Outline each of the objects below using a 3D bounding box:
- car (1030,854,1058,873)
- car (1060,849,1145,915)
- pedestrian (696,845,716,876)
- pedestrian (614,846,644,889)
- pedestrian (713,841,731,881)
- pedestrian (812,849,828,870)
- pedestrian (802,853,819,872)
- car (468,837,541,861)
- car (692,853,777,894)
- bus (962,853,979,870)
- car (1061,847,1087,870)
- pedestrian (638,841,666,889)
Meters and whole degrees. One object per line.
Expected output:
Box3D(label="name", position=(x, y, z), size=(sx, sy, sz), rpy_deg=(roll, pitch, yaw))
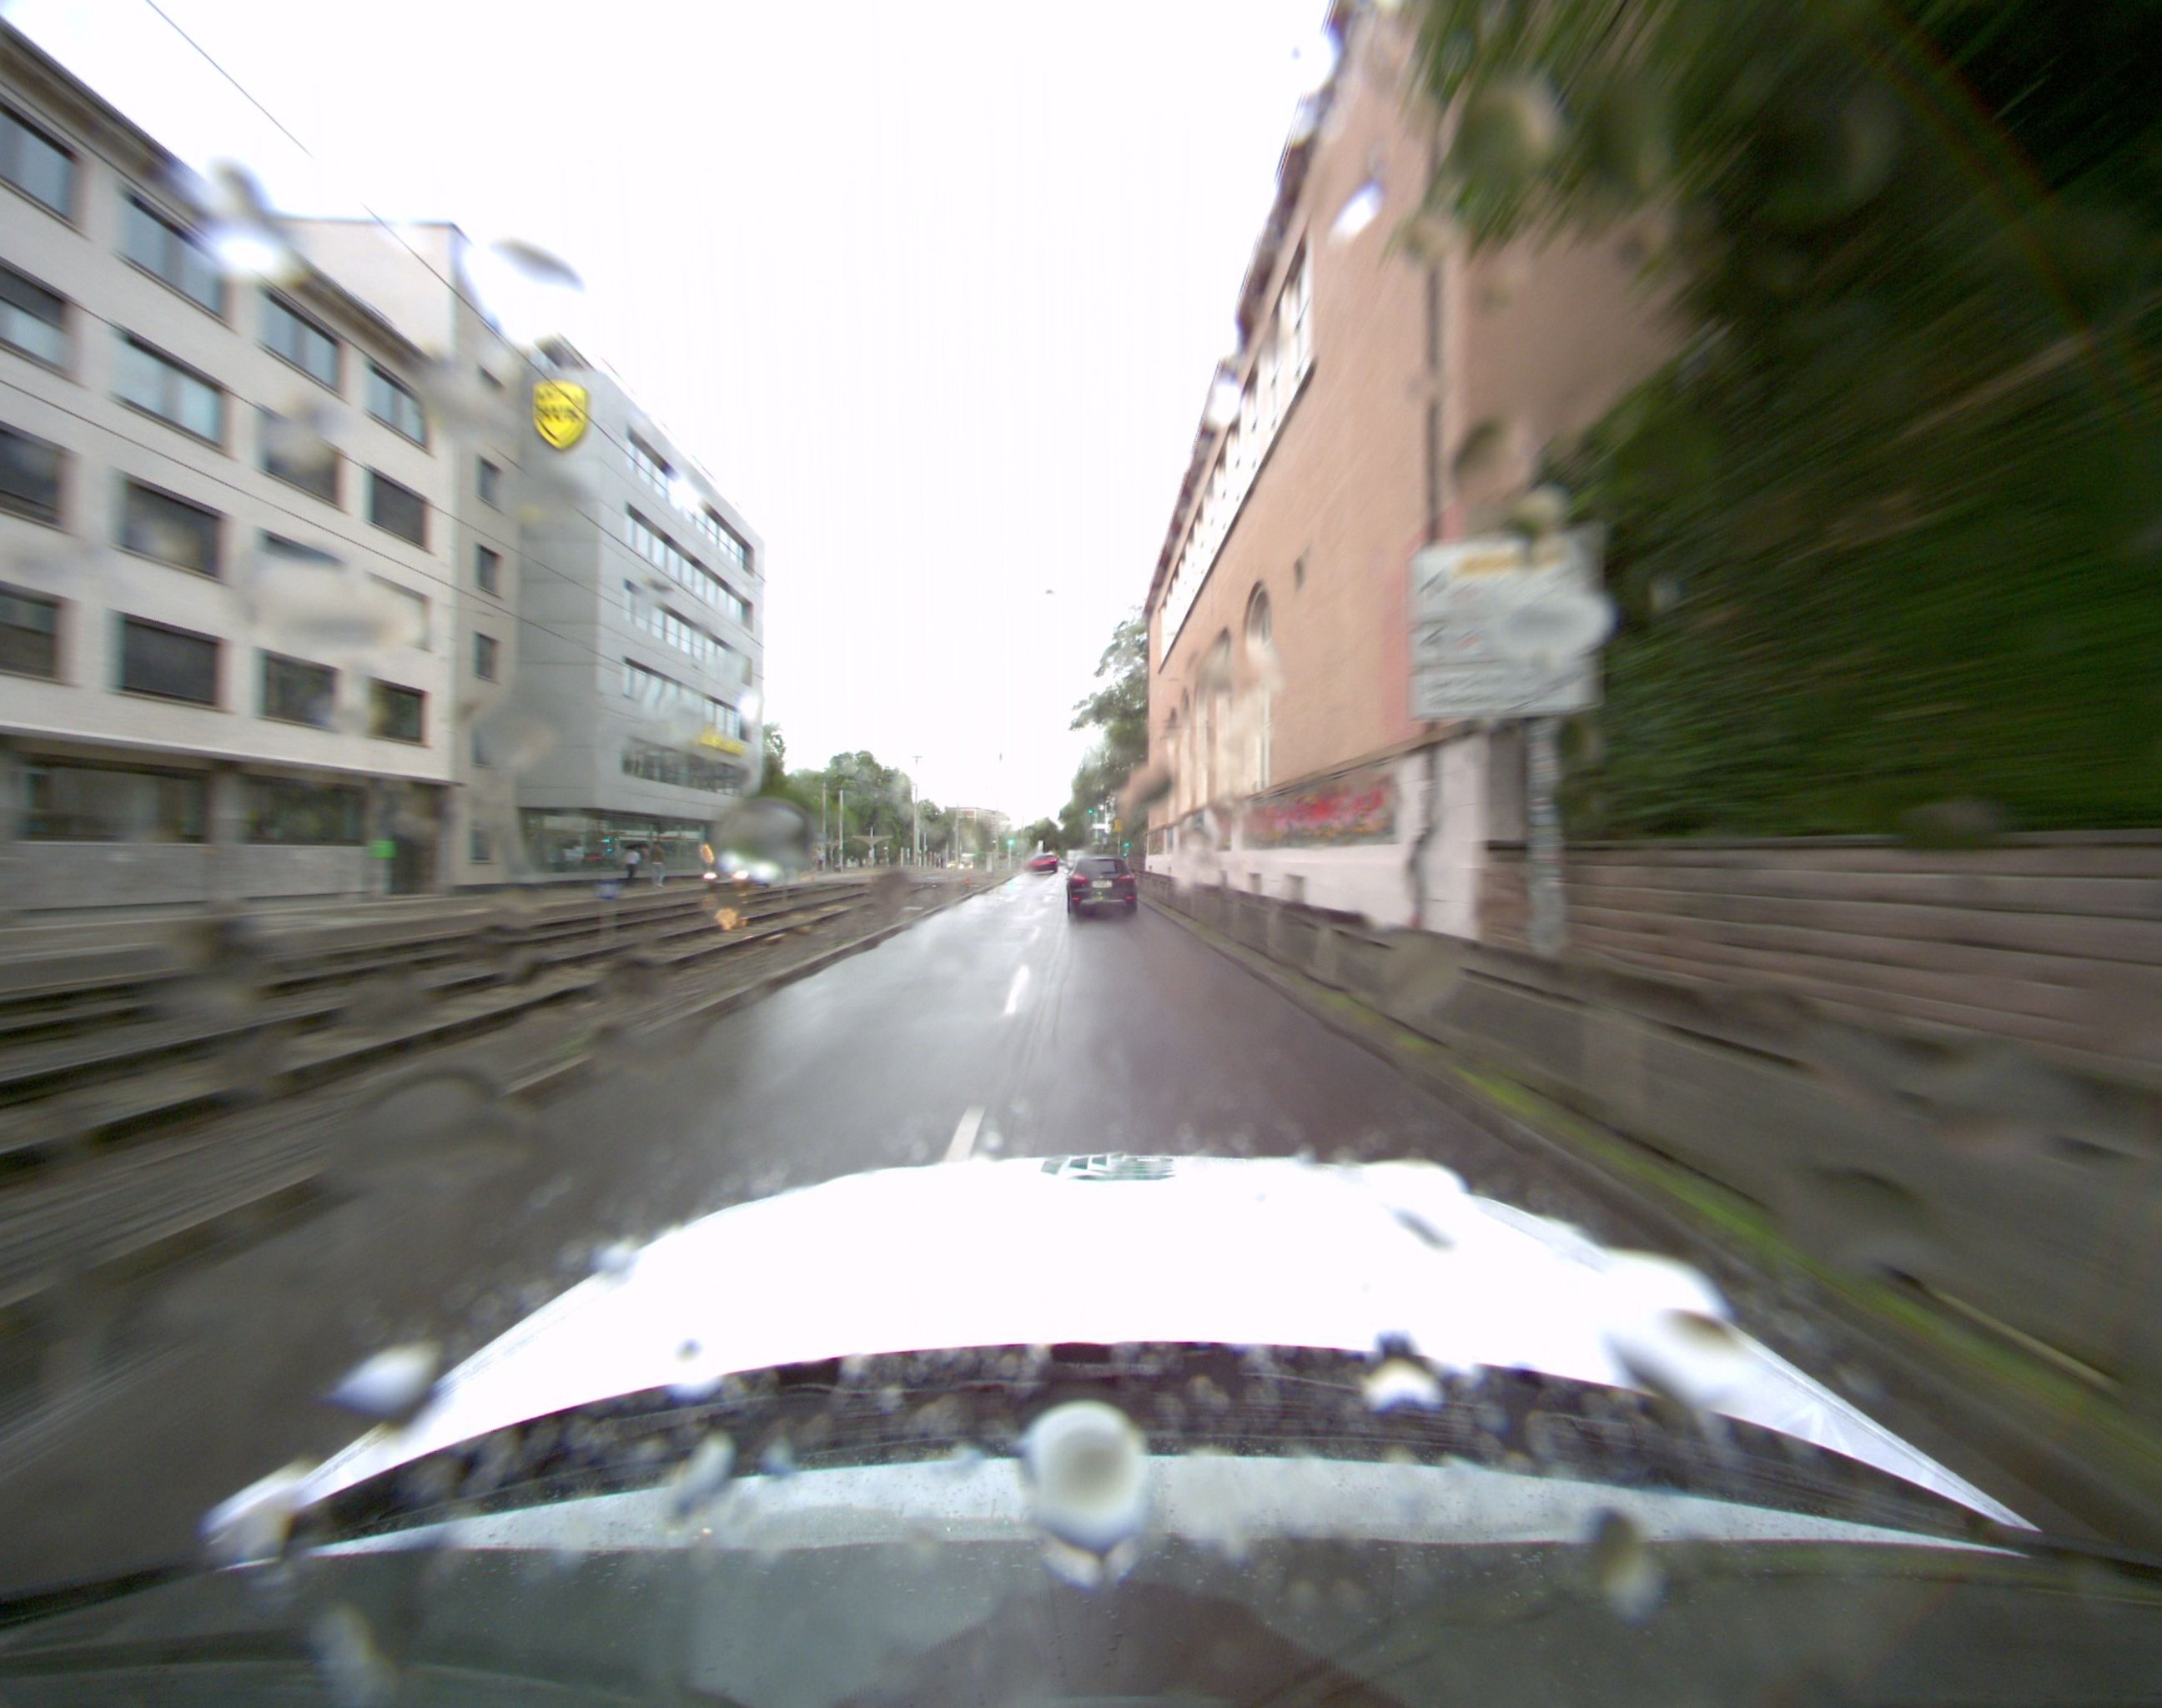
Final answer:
Box3D(label="car", position=(-3.074, 0.770, 68.067), size=(2.092, 1.506, 4.731), rpy_deg=(-1, 0, 0))
Box3D(label="car", position=(0.481, 0.666, 21.670), size=(2.030, 1.584, 4.390), rpy_deg=(0, 0, -1))
Box3D(label="pedestrian", position=(-19.135, 0.328, 41.544), size=(0.582, 1.594, 0.638), rpy_deg=(2, -1, 16))
Box3D(label="pedestrian", position=(-19.272, 0.565, 34.730), size=(0.659, 1.815, 0.973), rpy_deg=(2, -1, -1))
Box3D(label="pedestrian", position=(-18.329, 0.375, 41.562), size=(0.666, 2.014, 0.610), rpy_deg=(2, -1, -40))
Box3D(label="pedestrian", position=(-23.695, 0.540, 74.005), size=(0.992, 1.863, 0.918), rpy_deg=(2, -1, 19))
Box3D(label="pedestrian", position=(-23.444, 0.724, 70.493), size=(0.993, 1.594, 0.917), rpy_deg=(2, -1, 14))
Box3D(label="car", position=(-36.770, -0.327, 52.031), size=(3.548, 1.448, 1.687), rpy_deg=(-1, 0, -28))
Box3D(label="car", position=(-14.642, 0.790, 34.670), size=(1.936, 1.536, 4.342), rpy_deg=(-3, 0, -5))
Box3D(label="bus", position=(-23.144, 1.620, 171.058), size=(3.073, 3.301, 12.497), rpy_deg=(-1, 0, -6))
Box3D(label="car", position=(-0.559, 0.391, 67.620), size=(2.029, 1.840, 4.392), rpy_deg=(0, 0, 1))
Box3D(label="pedestrian", position=(-18.305, 0.483, 34.768), size=(0.659, 2.014, 0.810), rpy_deg=(2, -1, -1))
